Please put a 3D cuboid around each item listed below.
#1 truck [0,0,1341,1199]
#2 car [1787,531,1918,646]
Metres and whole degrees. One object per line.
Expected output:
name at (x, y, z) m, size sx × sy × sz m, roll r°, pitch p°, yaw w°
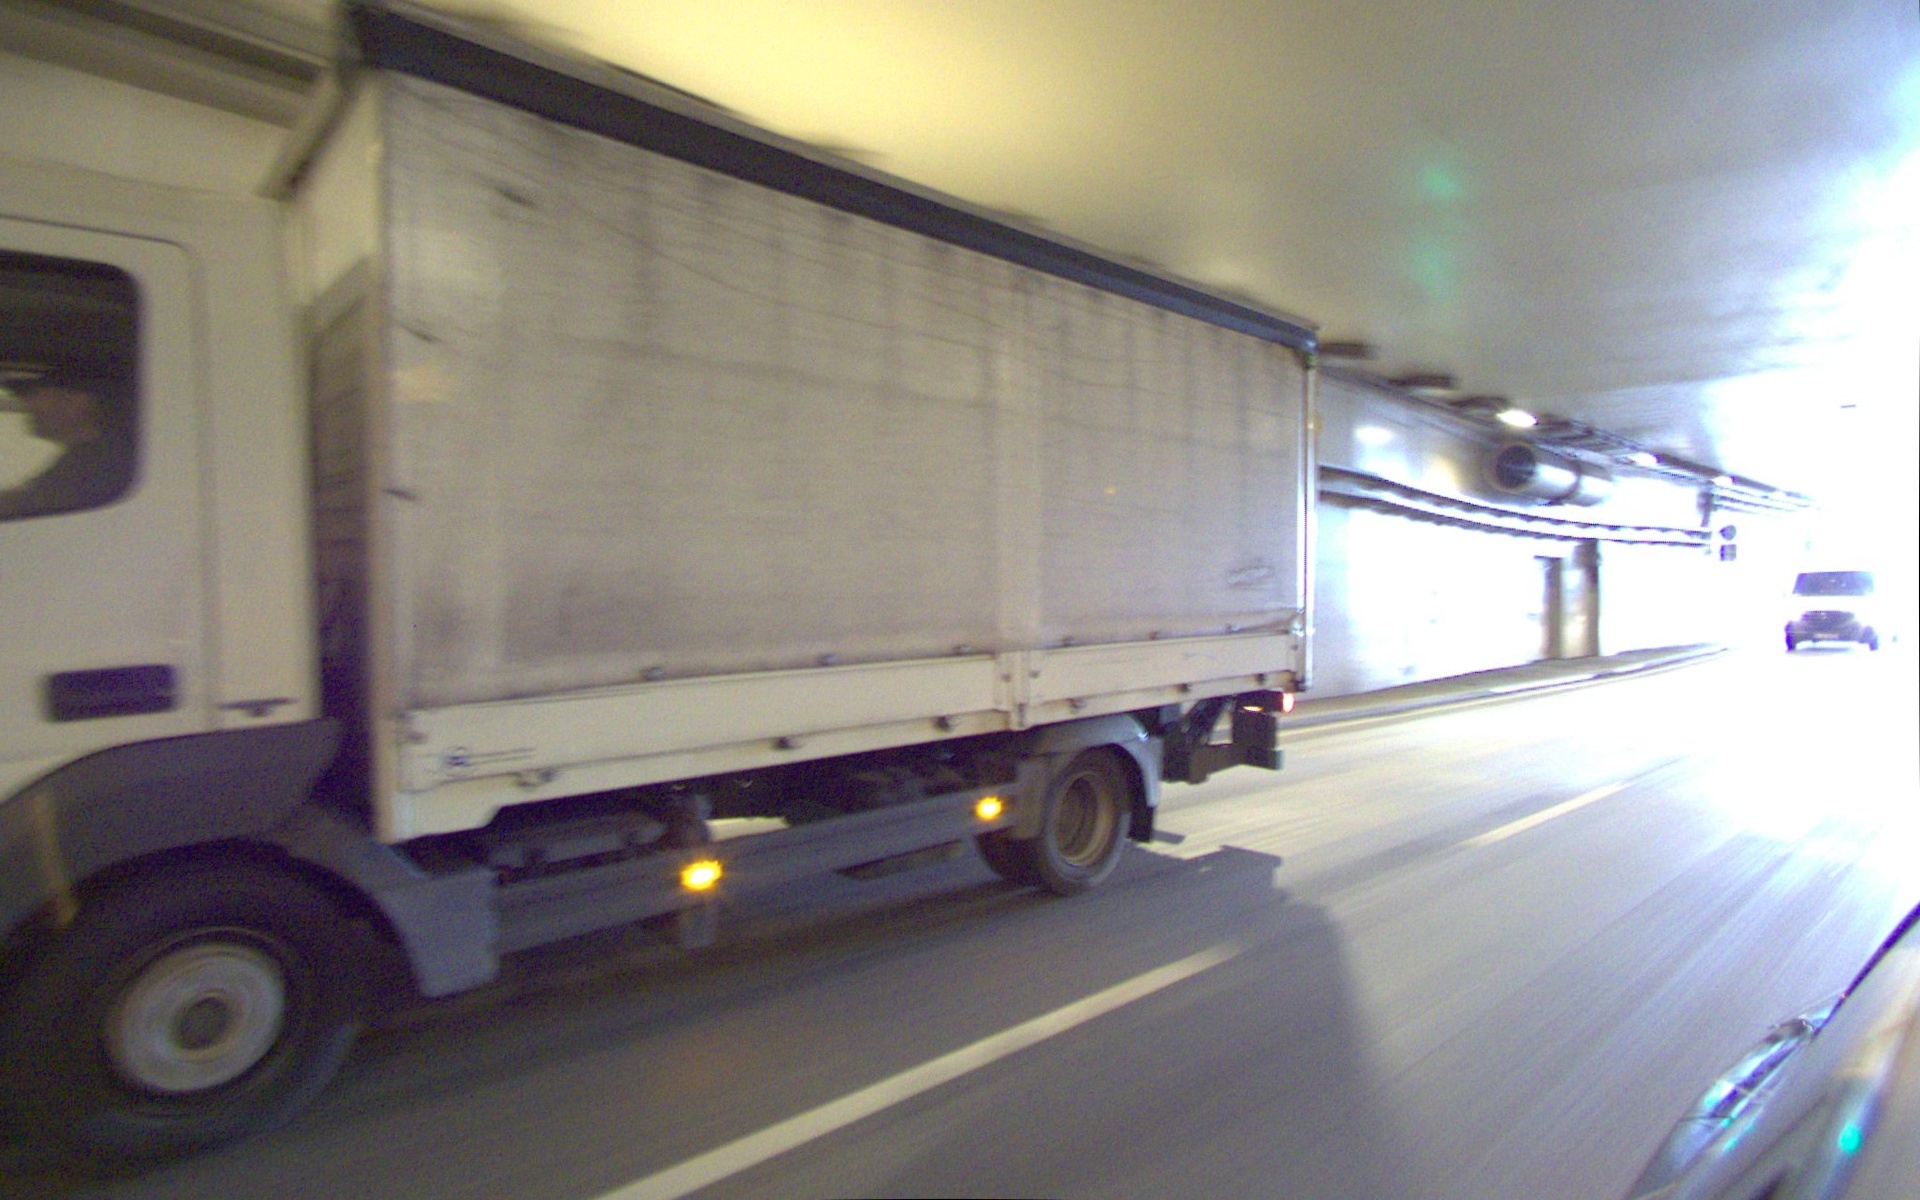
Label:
truck at (-1.056, -0.207, 4.897) m, size 7.123 × 3.221 × 2.556 m, roll 0°, pitch 0°, yaw -43°
car at (25.082, -0.374, 28.325) m, size 6.746 × 2.882 × 2.104 m, roll -2°, pitch 1°, yaw -43°
